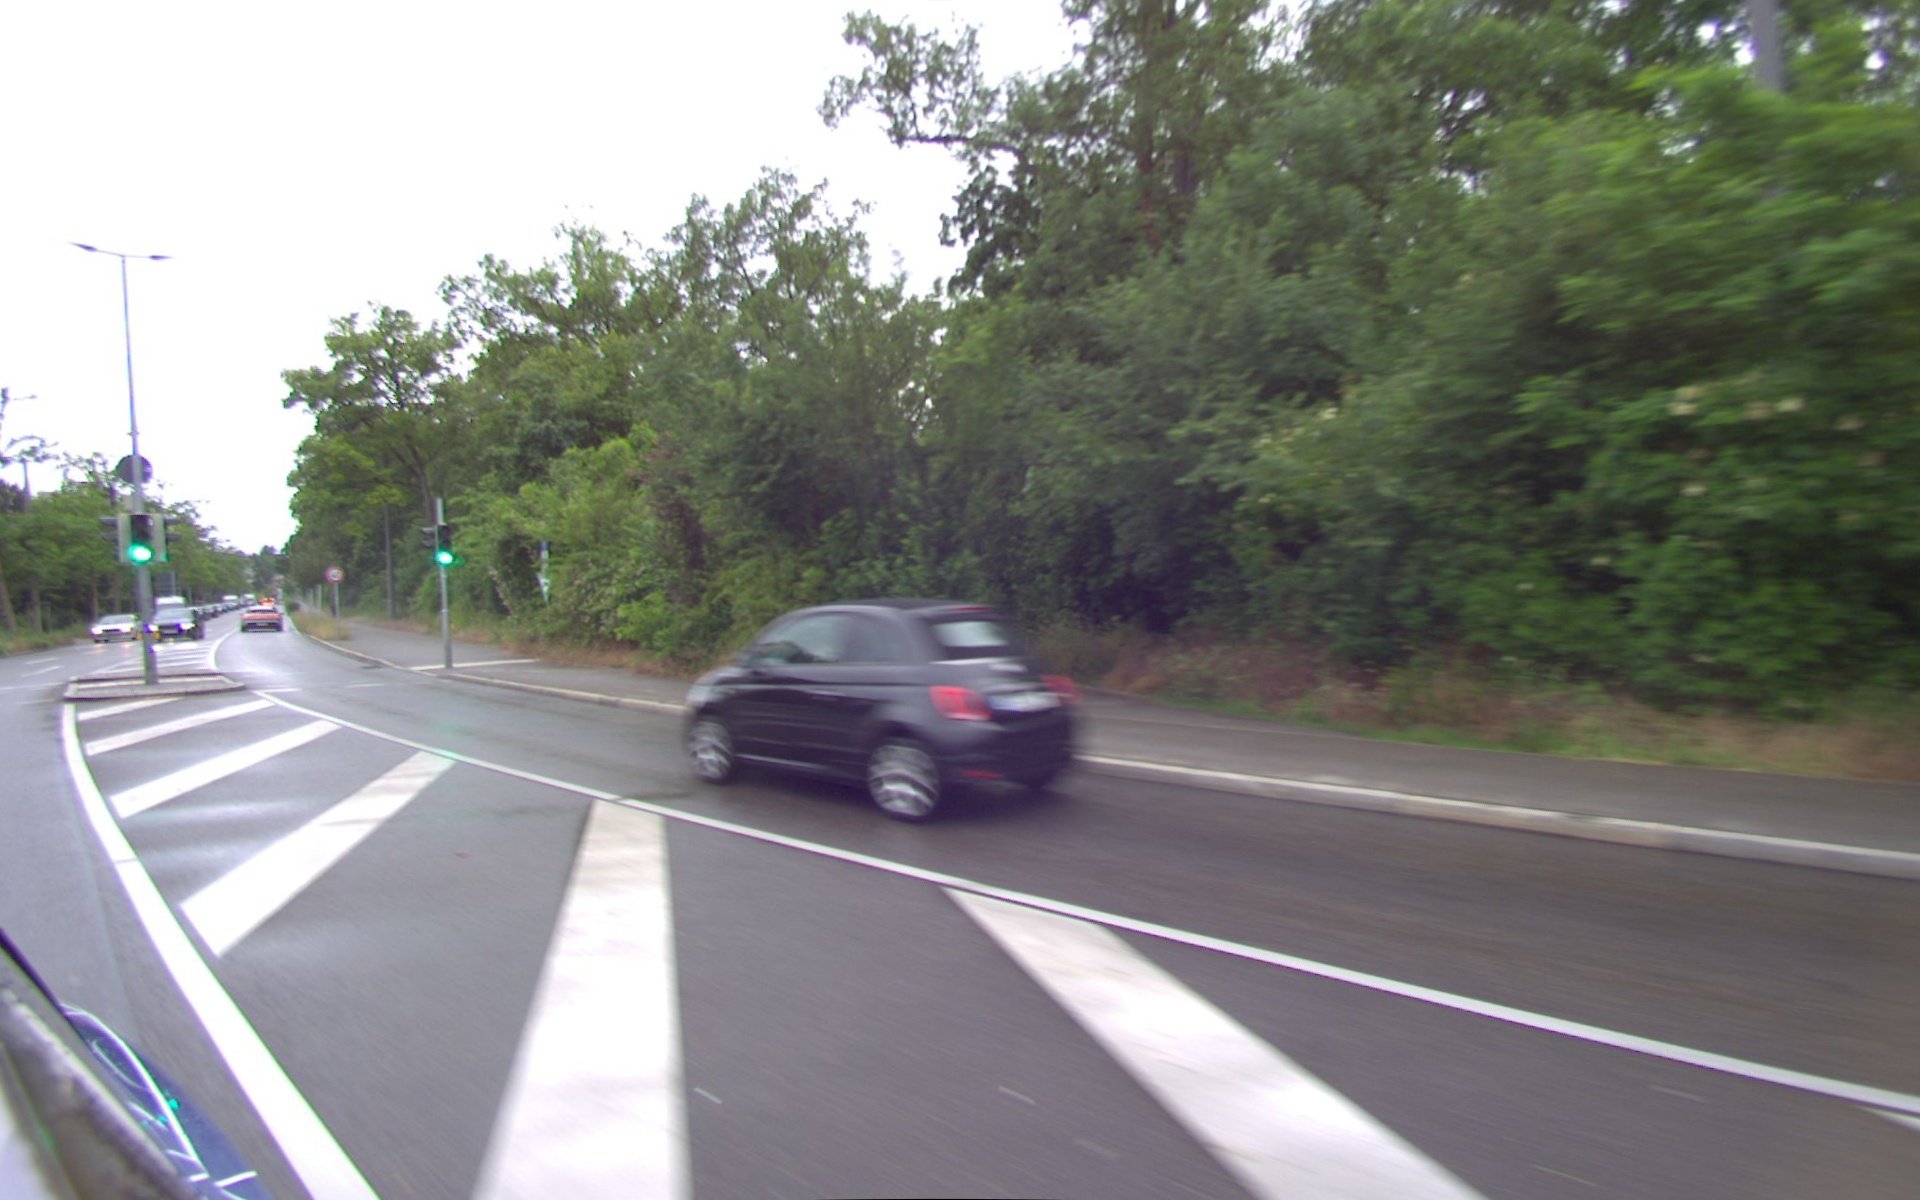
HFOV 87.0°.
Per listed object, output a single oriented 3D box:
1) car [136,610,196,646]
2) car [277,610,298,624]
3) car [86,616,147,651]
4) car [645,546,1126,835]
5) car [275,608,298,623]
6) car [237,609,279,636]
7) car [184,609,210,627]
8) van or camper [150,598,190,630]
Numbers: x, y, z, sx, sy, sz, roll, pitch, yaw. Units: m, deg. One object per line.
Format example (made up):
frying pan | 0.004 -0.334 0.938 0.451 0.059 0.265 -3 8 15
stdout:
car | -35.343 1.224 45.144 1.914 1.466 4.615 -2 0 -36
car | -78.532 1.975 118.176 1.914 1.615 4.615 -2 0 -35
car | -42.124 1.627 50.617 1.914 1.615 4.615 -2 0 -35
car | -0.744 0.575 7.946 3.773 1.744 1.560 -2 0 41
car | -73.865 1.700 110.985 1.914 1.615 4.615 -2 0 -35
car | -40.089 1.266 57.806 1.914 1.386 4.615 -2 0 -35
car | -75.060 1.753 99.598 1.914 1.615 4.615 -2 0 -35
van or camper | -64.144 1.115 82.256 1.966 2.471 4.735 -3 1 -32
